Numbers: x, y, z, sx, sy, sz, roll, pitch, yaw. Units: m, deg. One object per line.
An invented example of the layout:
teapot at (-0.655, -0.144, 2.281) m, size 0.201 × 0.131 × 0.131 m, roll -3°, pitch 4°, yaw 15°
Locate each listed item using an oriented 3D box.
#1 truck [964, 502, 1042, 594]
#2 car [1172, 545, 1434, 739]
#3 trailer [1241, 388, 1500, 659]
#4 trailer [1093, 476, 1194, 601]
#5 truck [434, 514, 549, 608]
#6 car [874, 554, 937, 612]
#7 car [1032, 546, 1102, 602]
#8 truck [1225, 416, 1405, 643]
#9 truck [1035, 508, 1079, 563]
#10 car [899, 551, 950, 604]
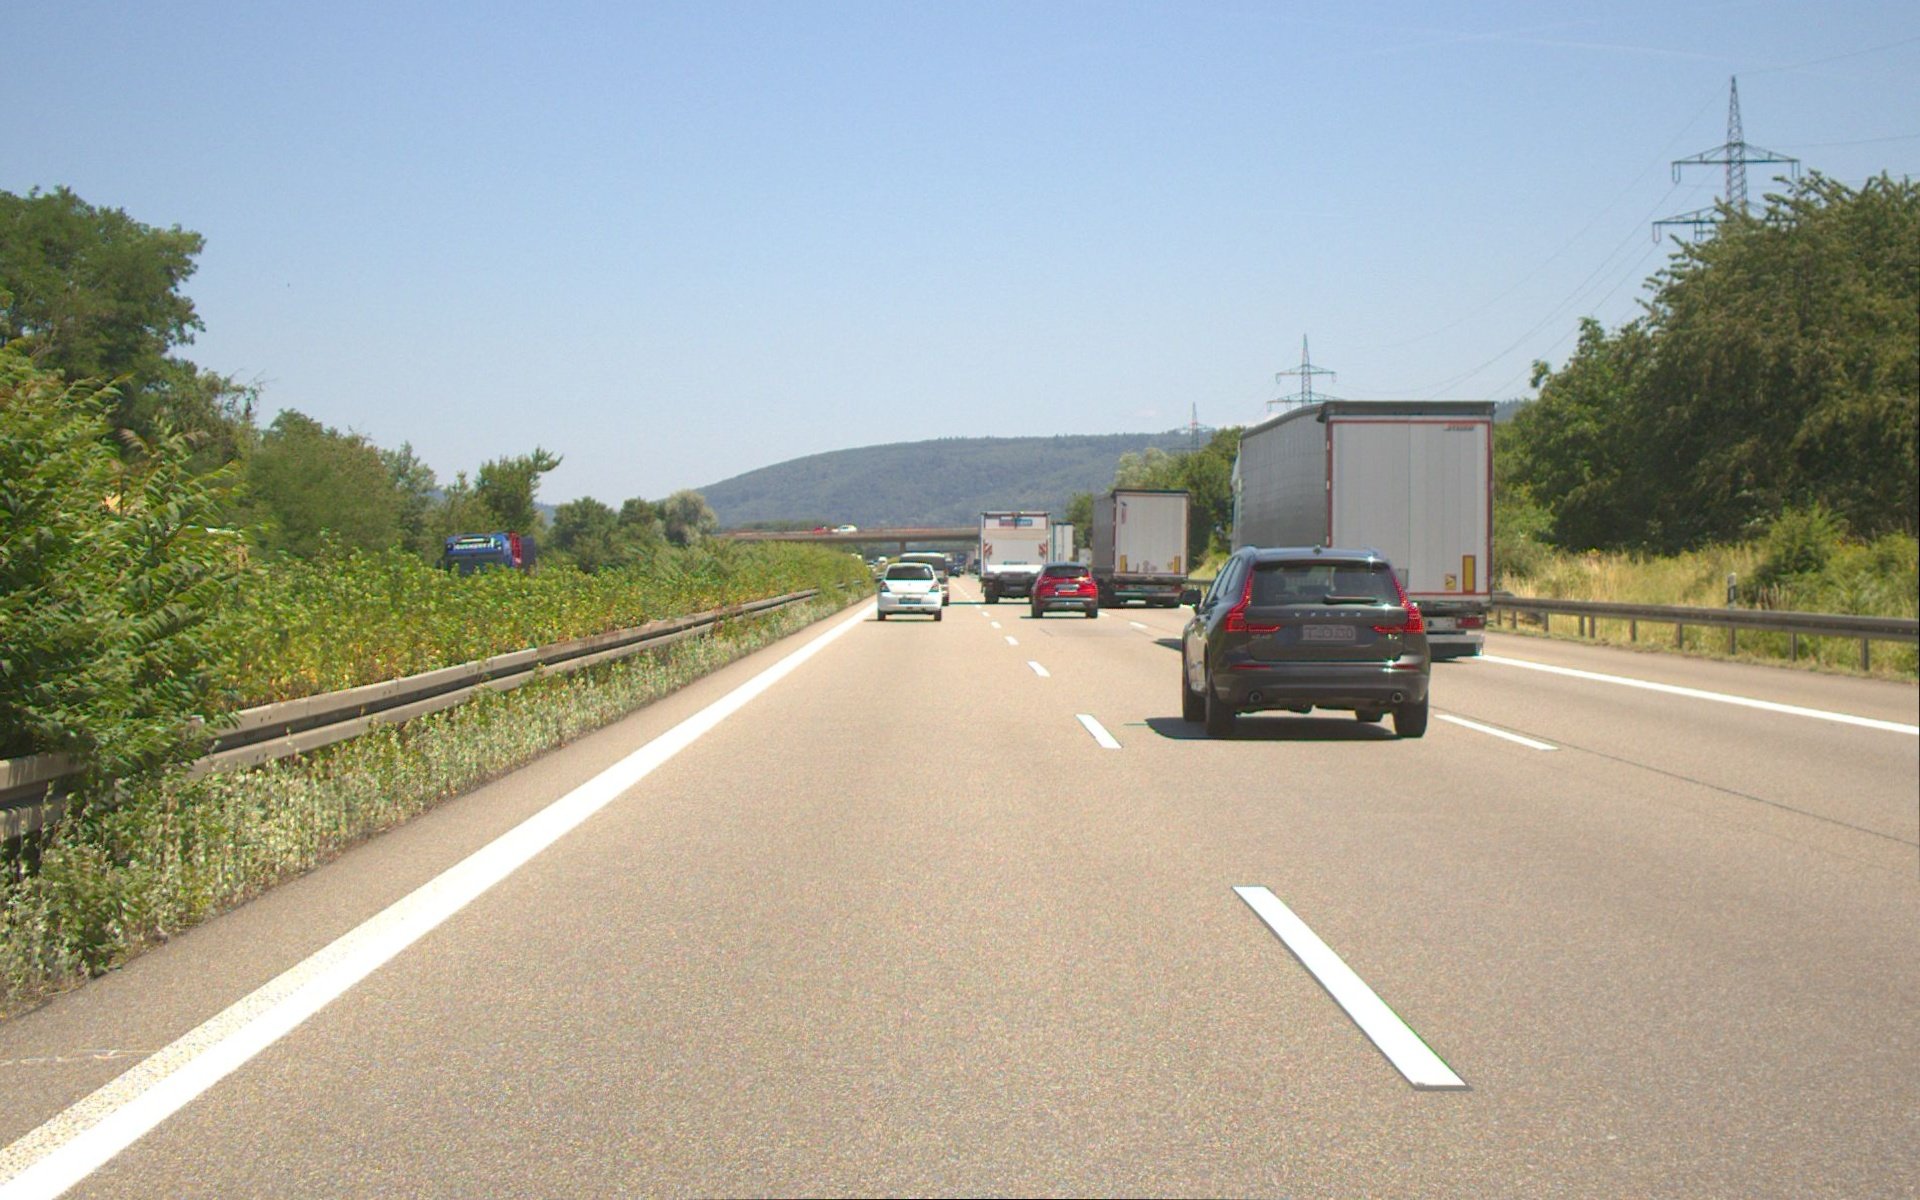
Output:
truck at (1.601, -1.959, 131.153) m, size 2.782 × 3.361 × 8.128 m, roll 0°, pitch 0°, yaw 0°
car at (2.980, 0.323, 30.632) m, size 1.873 × 1.618 × 4.004 m, roll 0°, pitch 1°, yaw -1°
trailer at (6.735, -1.234, 58.457) m, size 2.736 × 4.092 × 13.123 m, roll 0°, pitch 1°, yaw 0°
trailer at (6.442, -2.159, 122.538) m, size 2.789 × 4.149 × 13.574 m, roll -1°, pitch 1°, yaw 0°
truck at (-18.209, -1.530, 134.366) m, size 2.787 × 3.421 × 11.981 m, roll -2°, pitch 1°, yaw 0°
car at (-1.447, -0.460, 90.785) m, size 1.607 × 1.462 × 4.000 m, roll -1°, pitch 1°, yaw -1°
car at (2.977, -0.737, 96.079) m, size 1.803 × 1.540 × 4.000 m, roll 0°, pitch 1°, yaw 0°
truck at (6.675, -1.315, 65.349) m, size 2.736 × 4.105 × 6.125 m, roll 0°, pitch 1°, yaw 0°
truck at (5.879, -3.911, 209.664) m, size 2.221 × 3.198 × 10.385 m, roll -1°, pitch 1°, yaw 0°
car at (-1.282, -0.825, 122.566) m, size 1.760 × 1.844 × 4.000 m, roll -1°, pitch 1°, yaw -1°
